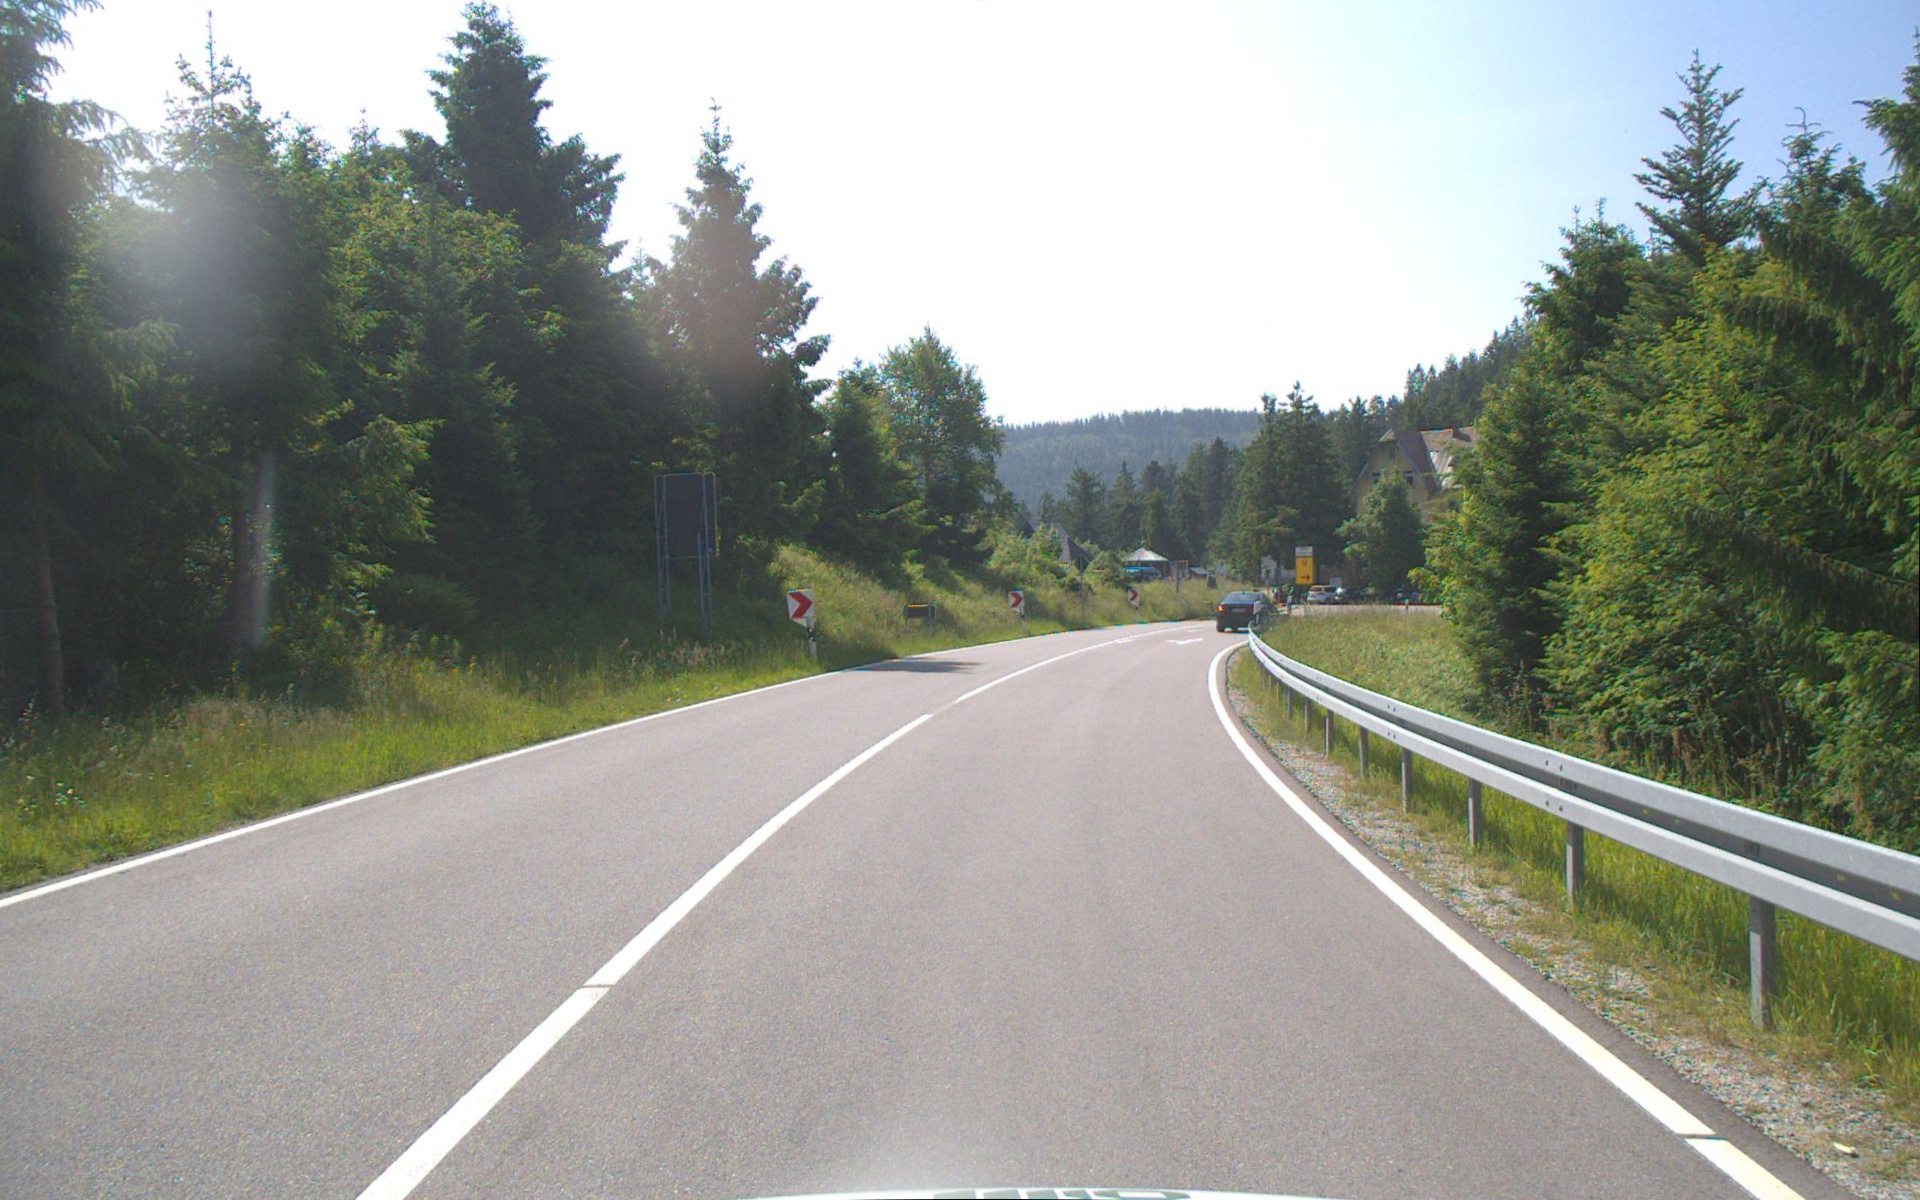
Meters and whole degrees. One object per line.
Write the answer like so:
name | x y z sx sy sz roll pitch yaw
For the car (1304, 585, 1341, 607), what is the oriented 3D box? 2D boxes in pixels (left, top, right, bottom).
car | 30.699 -0.350 139.975 1.820 1.700 4.376 -2 0 31

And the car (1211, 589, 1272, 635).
car | 10.071 0.410 58.948 1.738 1.467 3.712 1 2 16

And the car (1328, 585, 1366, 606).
car | 32.327 -0.394 138.093 1.854 1.677 4.285 -2 0 31
